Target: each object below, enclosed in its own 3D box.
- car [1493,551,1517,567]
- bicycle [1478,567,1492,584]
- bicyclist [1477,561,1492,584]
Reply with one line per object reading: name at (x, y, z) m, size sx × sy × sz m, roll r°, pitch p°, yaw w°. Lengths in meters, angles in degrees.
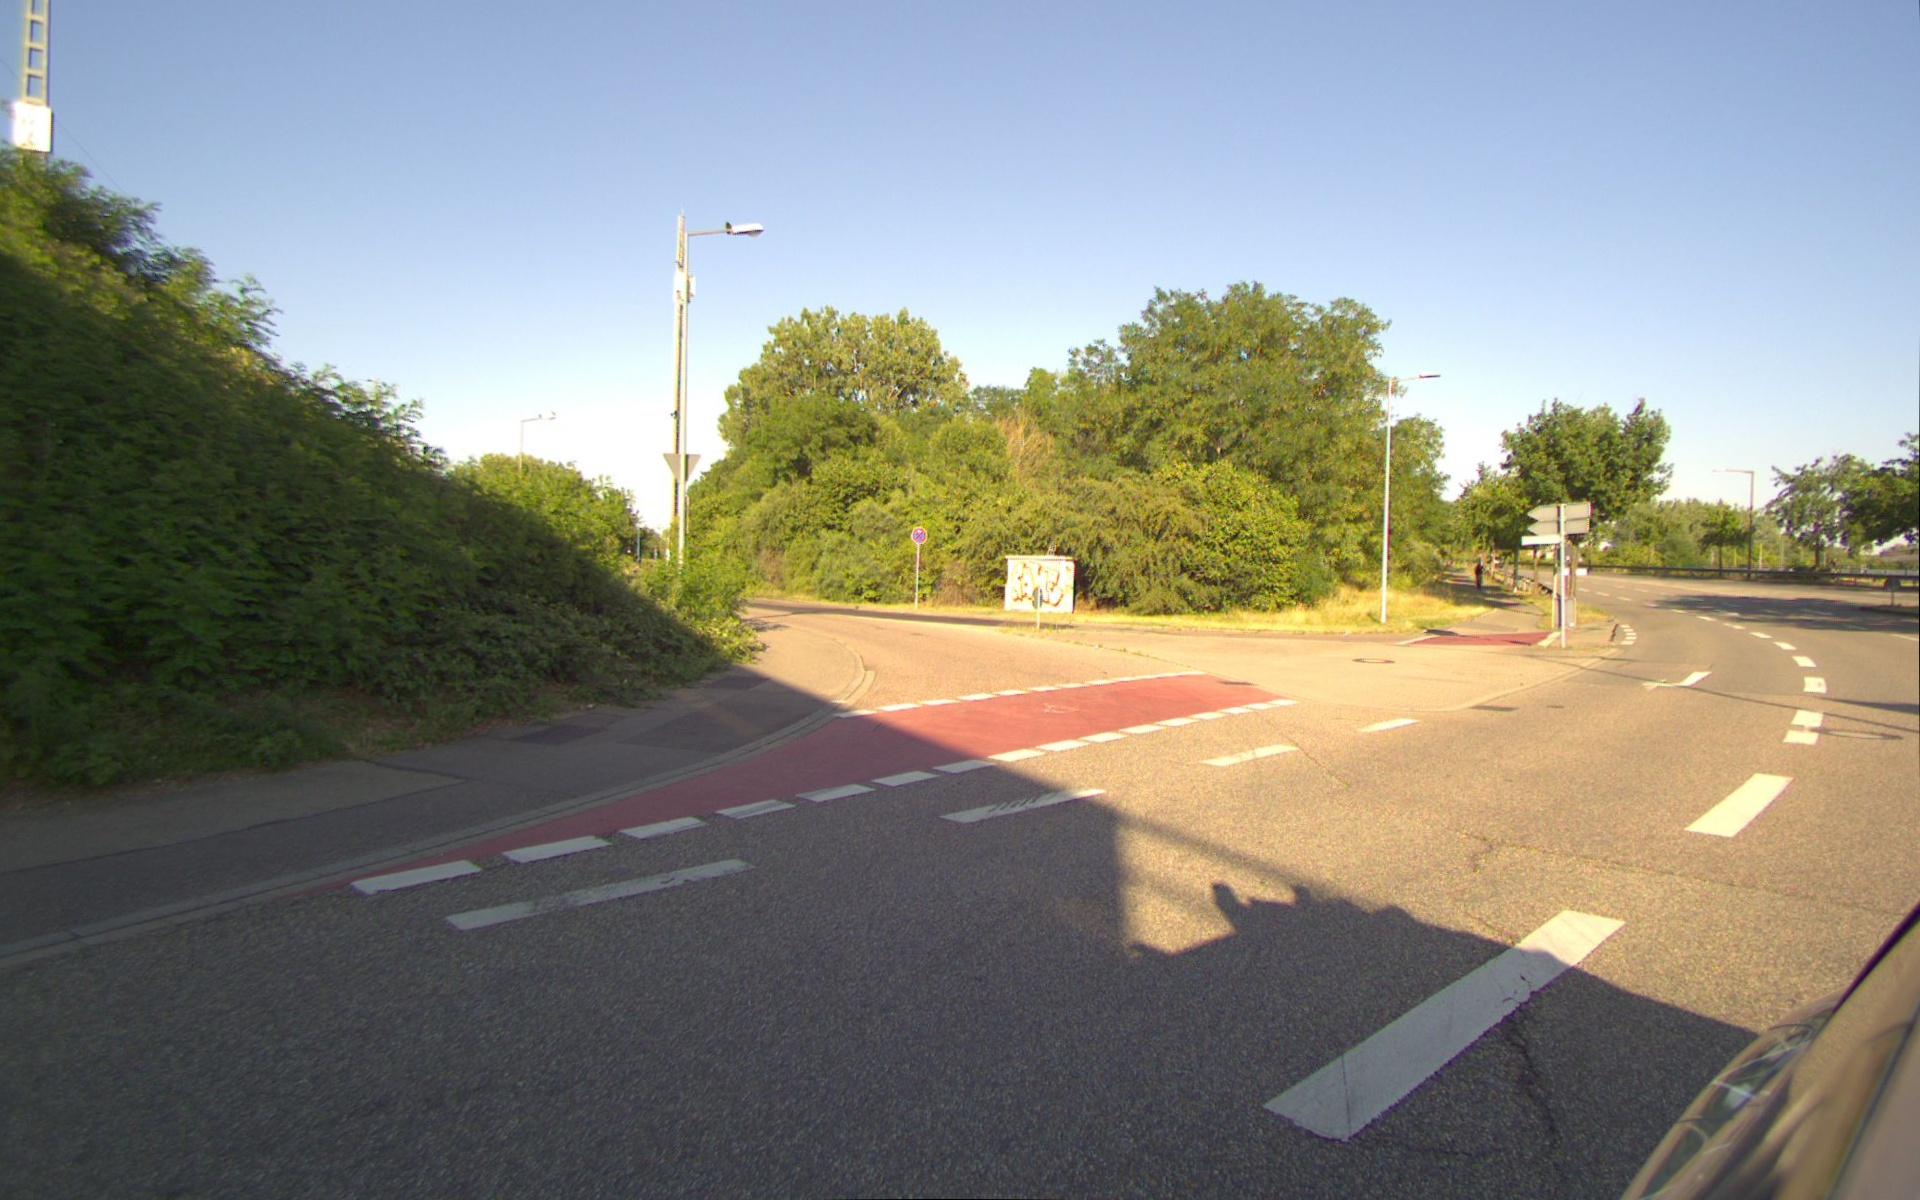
car at (68.180, -5.102, 126.684) m, size 1.974 × 1.794 × 3.976 m, roll 0°, pitch 0°, yaw 18°
bicycle at (33.339, -1.536, 64.251) m, size 0.775 × 1.070 × 2.473 m, roll 0°, pitch 0°, yaw 27°
bicyclist at (33.414, -1.717, 64.419) m, size 0.836 × 1.439 × 1.103 m, roll 0°, pitch 0°, yaw 28°
